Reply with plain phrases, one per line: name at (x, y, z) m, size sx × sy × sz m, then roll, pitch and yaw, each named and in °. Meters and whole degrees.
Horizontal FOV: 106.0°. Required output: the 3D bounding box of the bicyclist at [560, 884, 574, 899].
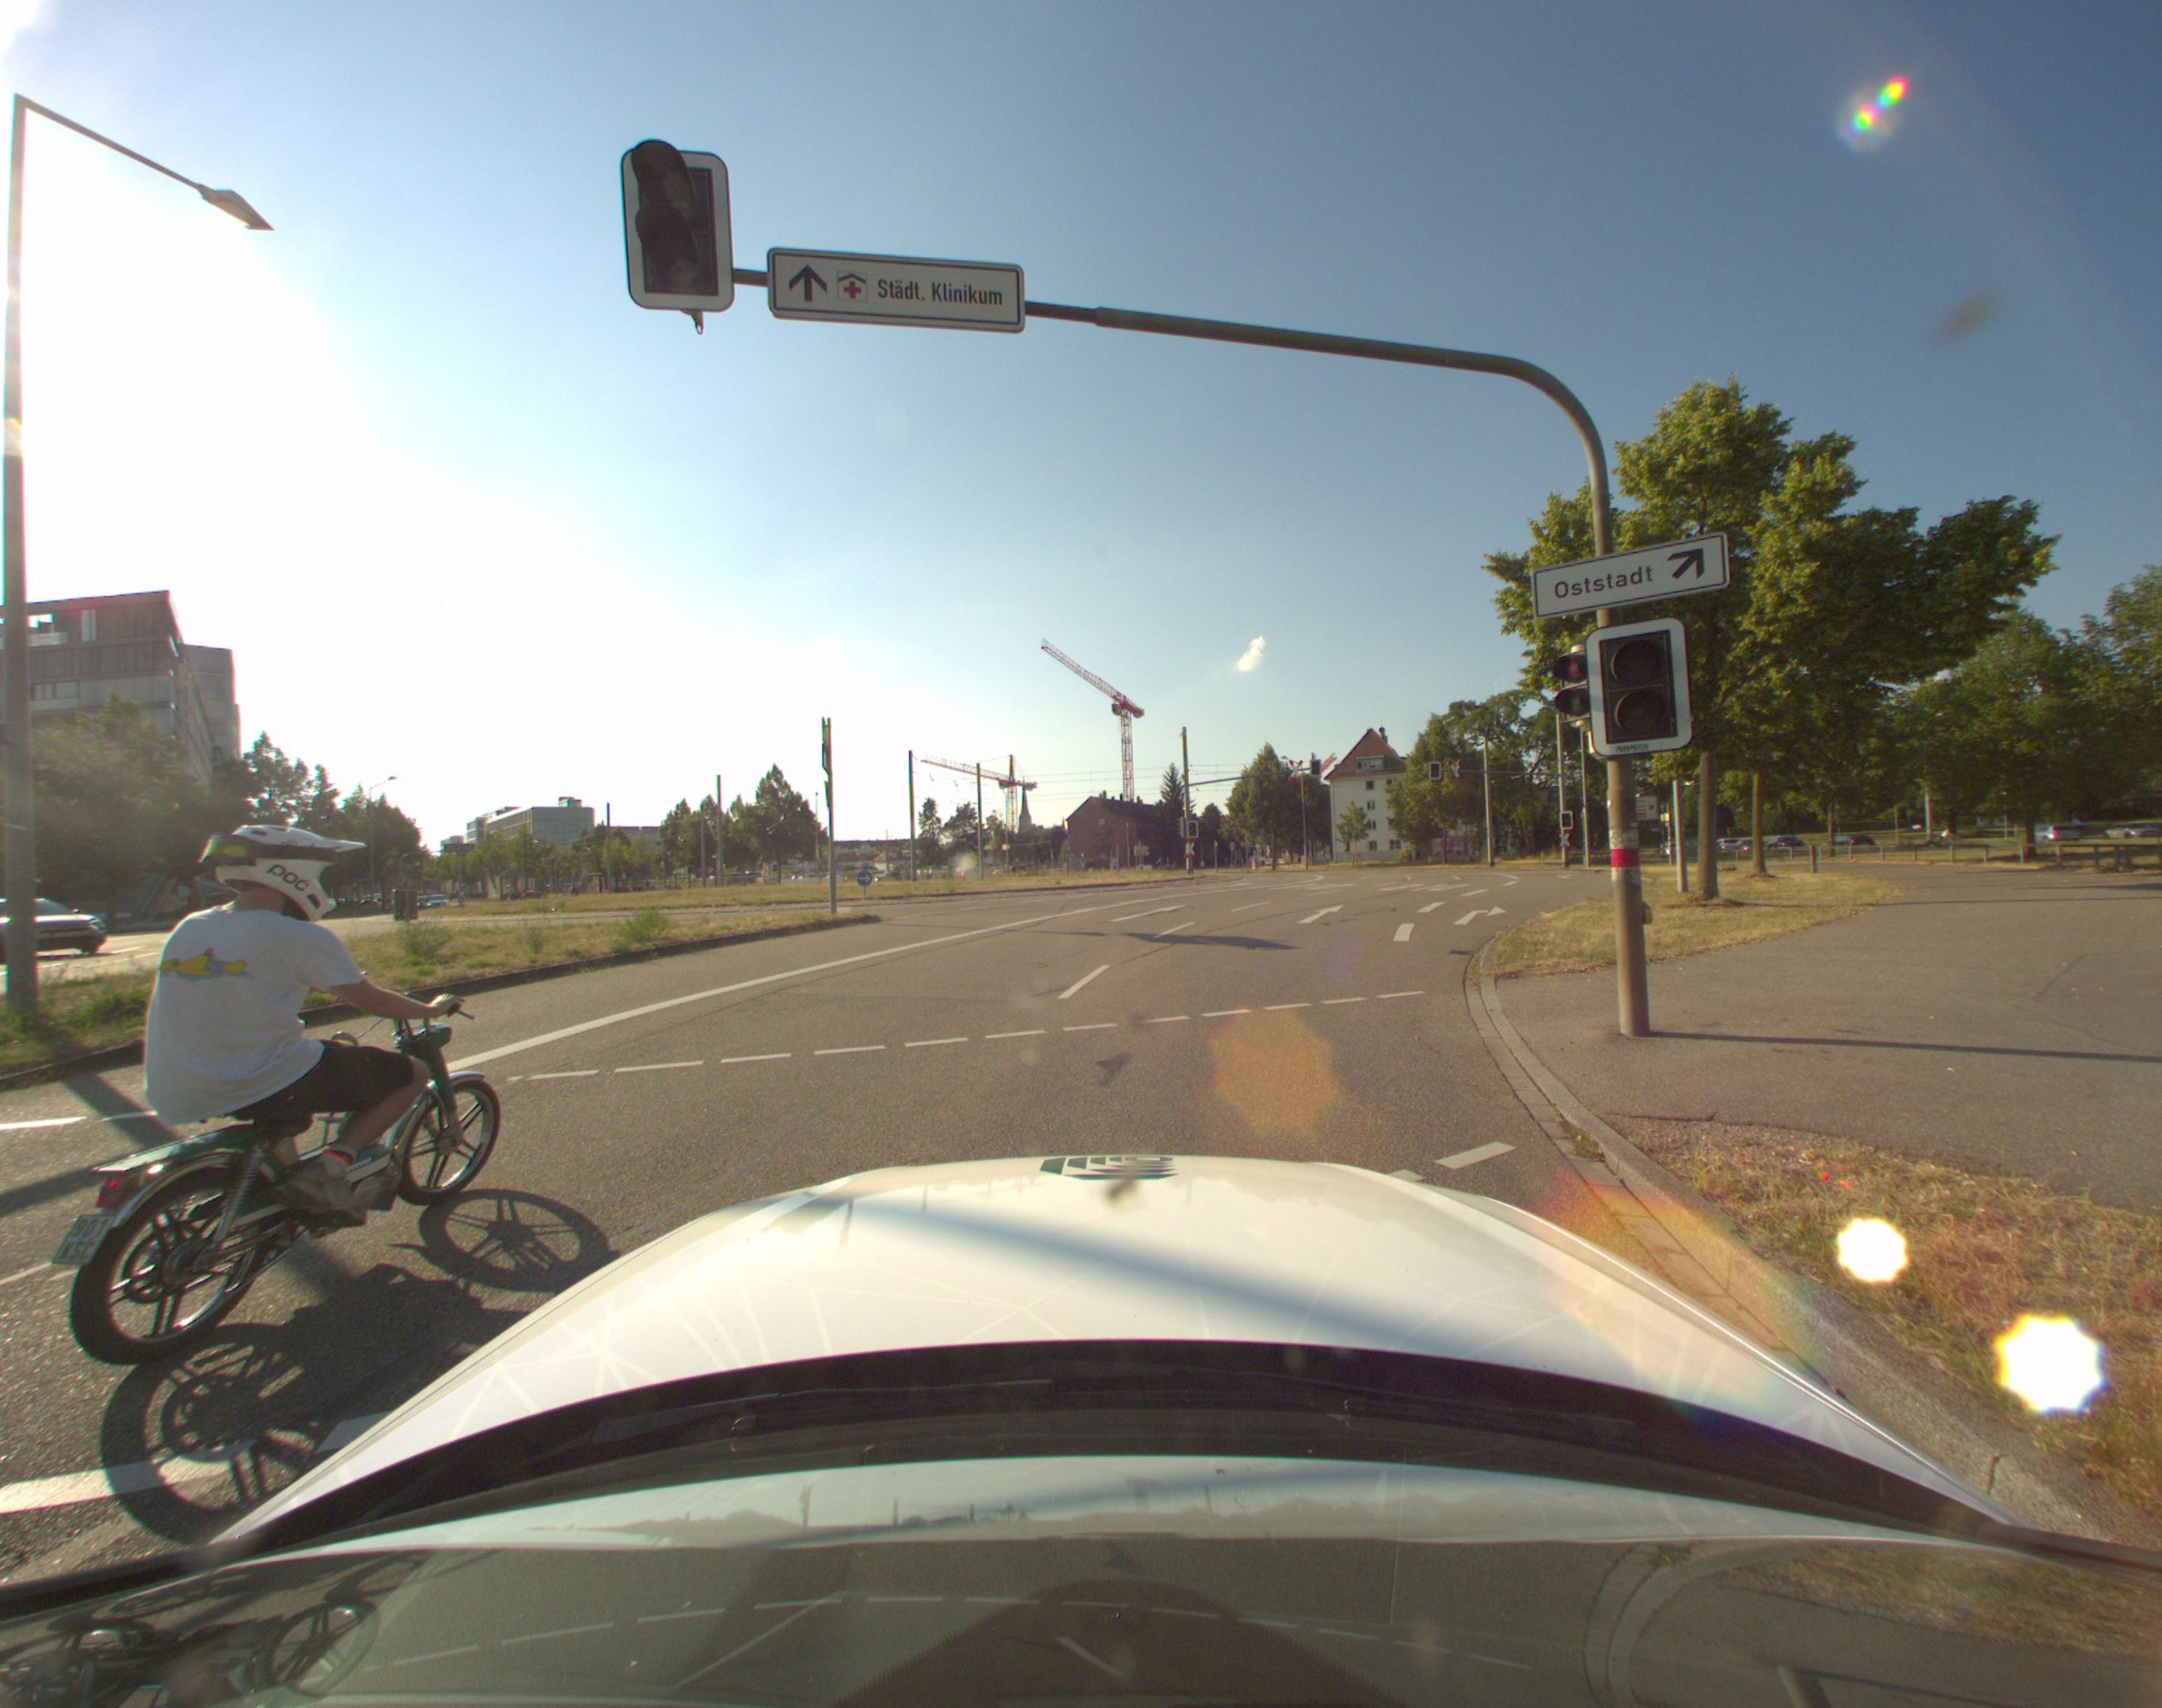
bicyclist at (-50.003, 3.662, 79.241) m, size 0.685 × 1.357 × 0.963 m, roll -3°, pitch -1°, yaw 44°

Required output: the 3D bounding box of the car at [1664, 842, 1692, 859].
car at (55.069, -0.327, 75.150) m, size 1.586 × 1.402 × 3.993 m, roll -3°, pitch -1°, yaw 29°

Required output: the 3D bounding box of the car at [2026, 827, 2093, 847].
car at (77.445, -1.307, 64.555) m, size 1.805 × 1.403 × 4.023 m, roll -3°, pitch -1°, yaw 25°

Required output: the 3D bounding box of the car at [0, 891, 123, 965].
car at (-26.869, 1.871, 20.694) m, size 4.152 × 1.673 × 1.785 m, roll -2°, pitch -1°, yaw 18°

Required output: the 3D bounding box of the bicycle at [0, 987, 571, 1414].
bicycle at (-2.799, 1.108, 3.188) m, size 0.476 × 0.876 × 1.854 m, roll -2°, pitch -1°, yaw -2°

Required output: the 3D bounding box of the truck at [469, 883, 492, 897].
truck at (-142.450, 8.559, 193.162) m, size 7.084 × 3.231 × 3.156 m, roll -3°, pitch -1°, yaw 45°

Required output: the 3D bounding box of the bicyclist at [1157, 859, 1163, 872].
bicyclist at (9.176, 1.307, 94.365) m, size 0.621 × 1.511 × 0.418 m, roll -2°, pitch -1°, yaw -5°

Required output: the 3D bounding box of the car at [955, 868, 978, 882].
car at (-16.259, 2.945, 115.439) m, size 1.931 × 1.854 × 3.963 m, roll -2°, pitch -1°, yaw -28°

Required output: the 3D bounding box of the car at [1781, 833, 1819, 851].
car at (62.353, -1.018, 70.686) m, size 1.586 × 1.402 × 3.993 m, roll -3°, pitch -1°, yaw 29°

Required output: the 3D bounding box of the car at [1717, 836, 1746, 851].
car at (66.079, -1.088, 82.736) m, size 1.586 × 1.402 × 3.993 m, roll -3°, pitch -1°, yaw 29°

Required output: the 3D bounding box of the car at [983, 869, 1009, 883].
car at (-13.723, 3.573, 131.511) m, size 3.777 × 2.014 × 1.680 m, roll -3°, pitch -2°, yaw 19°

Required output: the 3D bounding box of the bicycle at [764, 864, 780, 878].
bicycle at (-34.676, 1.943, 91.409) m, size 1.542 × 1.473 × 0.477 m, roll -2°, pitch -1°, yaw -15°

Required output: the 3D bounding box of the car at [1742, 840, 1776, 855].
car at (60.315, -0.544, 72.517) m, size 1.586 × 1.221 × 3.993 m, roll -3°, pitch -1°, yaw 29°

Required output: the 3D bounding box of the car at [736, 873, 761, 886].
car at (-55.318, 4.202, 135.417) m, size 3.948 × 2.014 × 2.013 m, roll -3°, pitch -1°, yaw 35°

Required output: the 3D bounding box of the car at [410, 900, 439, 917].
car at (-65.094, 5.422, 80.721) m, size 2.011 × 1.475 × 3.951 m, roll -2°, pitch -1°, yaw -42°

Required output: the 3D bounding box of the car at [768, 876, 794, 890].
car at (-48.214, 4.672, 130.876) m, size 3.948 × 2.014 × 2.013 m, roll -3°, pitch -1°, yaw 35°

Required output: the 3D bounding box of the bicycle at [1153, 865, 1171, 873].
bicycle at (9.384, 1.743, 94.378) m, size 1.984 × 0.918 × 0.429 m, roll -2°, pitch -1°, yaw -5°

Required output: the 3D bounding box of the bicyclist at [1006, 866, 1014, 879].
bicyclist at (-8.311, 2.172, 95.730) m, size 0.896 × 1.396 × 0.525 m, roll -2°, pitch -1°, yaw -5°

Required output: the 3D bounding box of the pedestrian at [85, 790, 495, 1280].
pedestrian at (-2.821, 0.570, 3.018) m, size 0.654 × 1.519 × 0.853 m, roll -2°, pitch -1°, yaw -3°

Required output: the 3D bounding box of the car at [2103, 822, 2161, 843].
car at (81.734, -1.653, 62.933) m, size 1.805 × 1.403 × 4.023 m, roll -3°, pitch -1°, yaw 25°

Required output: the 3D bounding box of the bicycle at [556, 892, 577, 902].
bicycle at (-50.006, 4.161, 79.157) m, size 1.629 × 0.860 × 0.538 m, roll -2°, pitch -1°, yaw -44°

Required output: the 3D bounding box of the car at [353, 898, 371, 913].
car at (-108.407, 7.789, 122.804) m, size 2.011 × 2.014 × 3.952 m, roll 1°, pitch -1°, yaw -42°

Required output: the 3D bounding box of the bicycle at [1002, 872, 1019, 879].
bicycle at (-8.317, 2.520, 95.731) m, size 1.984 × 0.825 × 0.429 m, roll -2°, pitch -1°, yaw -5°

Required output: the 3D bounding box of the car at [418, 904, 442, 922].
car at (-60.150, 5.417, 75.277) m, size 1.493 × 1.475 × 3.259 m, roll -2°, pitch -1°, yaw -42°

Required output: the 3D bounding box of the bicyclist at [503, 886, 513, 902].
bicyclist at (-51.462, 3.582, 73.139) m, size 0.512 × 1.325 × 0.658 m, roll -3°, pitch -1°, yaw 44°

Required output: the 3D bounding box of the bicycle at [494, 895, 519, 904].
bicycle at (-51.526, 4.076, 73.048) m, size 0.474 × 0.744 × 1.732 m, roll -3°, pitch -1°, yaw 44°

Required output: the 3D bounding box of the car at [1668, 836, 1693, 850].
car at (63.333, -1.140, 86.005) m, size 1.586 × 1.402 × 3.993 m, roll -3°, pitch -1°, yaw 29°

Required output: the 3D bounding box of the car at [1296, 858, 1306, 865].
car at (46.657, 1.575, 172.750) m, size 1.442 × 1.300 × 3.569 m, roll -3°, pitch -1°, yaw 25°

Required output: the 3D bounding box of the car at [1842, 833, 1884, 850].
car at (66.151, -1.004, 68.965) m, size 1.586 × 1.310 × 3.993 m, roll -3°, pitch -1°, yaw 29°

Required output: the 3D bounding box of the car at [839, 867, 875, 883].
car at (-28.276, 2.611, 102.845) m, size 4.013 × 1.816 × 1.980 m, roll -2°, pitch -1°, yaw -31°

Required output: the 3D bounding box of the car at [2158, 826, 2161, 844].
car at (83.883, -1.530, 61.214) m, size 1.805 × 1.403 × 4.023 m, roll -3°, pitch -2°, yaw 25°

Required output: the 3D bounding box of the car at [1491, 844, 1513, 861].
car at (41.638, -0.133, 80.562) m, size 1.754 × 1.618 × 3.993 m, roll -3°, pitch -2°, yaw 29°

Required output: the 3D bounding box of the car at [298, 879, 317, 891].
car at (-112.291, 4.498, 118.206) m, size 3.950 × 1.556 × 1.800 m, roll -1°, pitch -1°, yaw 44°

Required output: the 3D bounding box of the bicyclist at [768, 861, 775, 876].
bicyclist at (-34.754, 1.594, 91.405) m, size 0.608 × 1.672 × 0.475 m, roll -2°, pitch -2°, yaw -15°
